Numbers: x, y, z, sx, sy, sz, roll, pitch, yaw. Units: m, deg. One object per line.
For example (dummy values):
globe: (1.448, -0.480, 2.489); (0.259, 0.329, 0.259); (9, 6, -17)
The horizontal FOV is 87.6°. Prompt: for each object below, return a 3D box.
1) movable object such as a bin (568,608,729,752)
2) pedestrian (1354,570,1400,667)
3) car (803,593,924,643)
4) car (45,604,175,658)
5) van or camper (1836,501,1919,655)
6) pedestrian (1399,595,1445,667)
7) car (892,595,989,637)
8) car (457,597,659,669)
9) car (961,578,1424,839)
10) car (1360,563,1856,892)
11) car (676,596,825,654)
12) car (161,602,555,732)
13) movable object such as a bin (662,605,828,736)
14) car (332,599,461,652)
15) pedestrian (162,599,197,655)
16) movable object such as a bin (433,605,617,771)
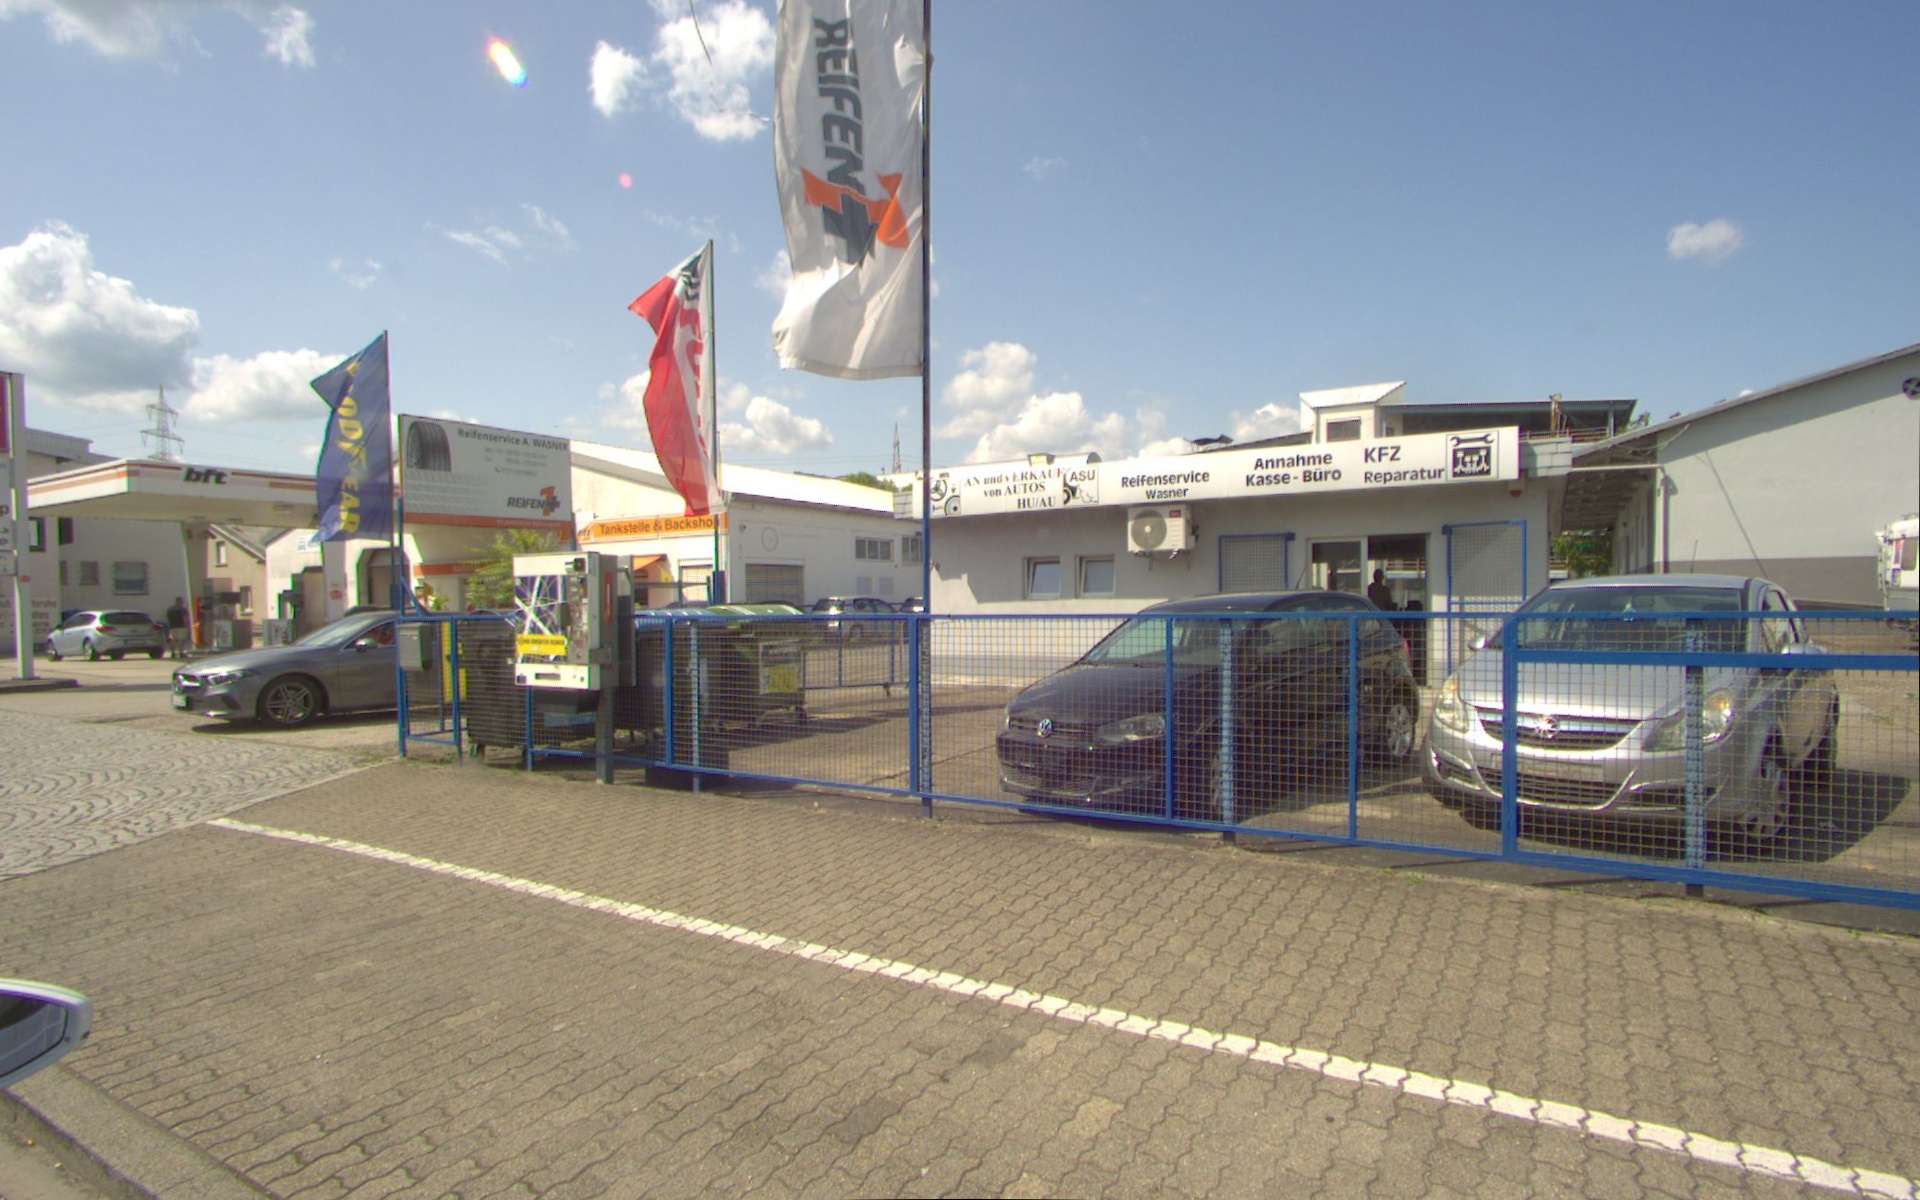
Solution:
movable object such as a bin: (-3.327, 0.802, 10.735); (1.225, 1.415, 1.106); (0, 1, 31)
pedestrian: (7.352, 0.319, 17.642); (0.654, 1.671, 0.563); (0, 1, 34)
car: (-3.013, 0.527, 32.048); (1.564, 1.482, 4.187); (0, 0, 33)
car: (-25.735, 0.900, 30.306); (3.776, 1.523, 1.803); (-1, 0, 30)
van or camper: (21.015, -0.453, 19.524); (5.571, 3.005, 2.264); (0, 1, 31)
pedestrian: (8.047, 0.532, 17.435); (0.654, 1.225, 0.563); (0, 1, 34)
car: (-0.637, 0.534, 35.733); (1.564, 1.385, 3.860); (0, 0, 33)
car: (-9.164, 0.688, 23.162); (1.564, 1.482, 4.187); (0, 0, 33)
car: (1.893, 0.601, 7.485); (3.655, 1.472, 1.625); (-1, 0, -43)
car: (4.272, 0.560, 6.377); (3.729, 1.472, 1.757); (-1, 0, -42)
car: (-5.717, 0.641, 27.817); (1.564, 1.482, 4.187); (0, 0, 33)
car: (-7.889, 0.762, 13.490); (1.654, 1.434, 4.253); (0, 0, 40)
movable object such as a bin: (-2.534, 0.782, 11.900); (1.318, 1.414, 1.400); (0, 1, 31)
car: (-17.308, 0.747, 30.723); (3.777, 1.523, 1.803); (-1, 0, 31)
pedestrian: (-23.774, 0.800, 30.516); (0.698, 1.679, 0.546); (-1, 1, -22)
movable object such as a bin: (-4.160, 0.785, 9.605); (1.225, 1.455, 1.106); (0, 1, 31)
